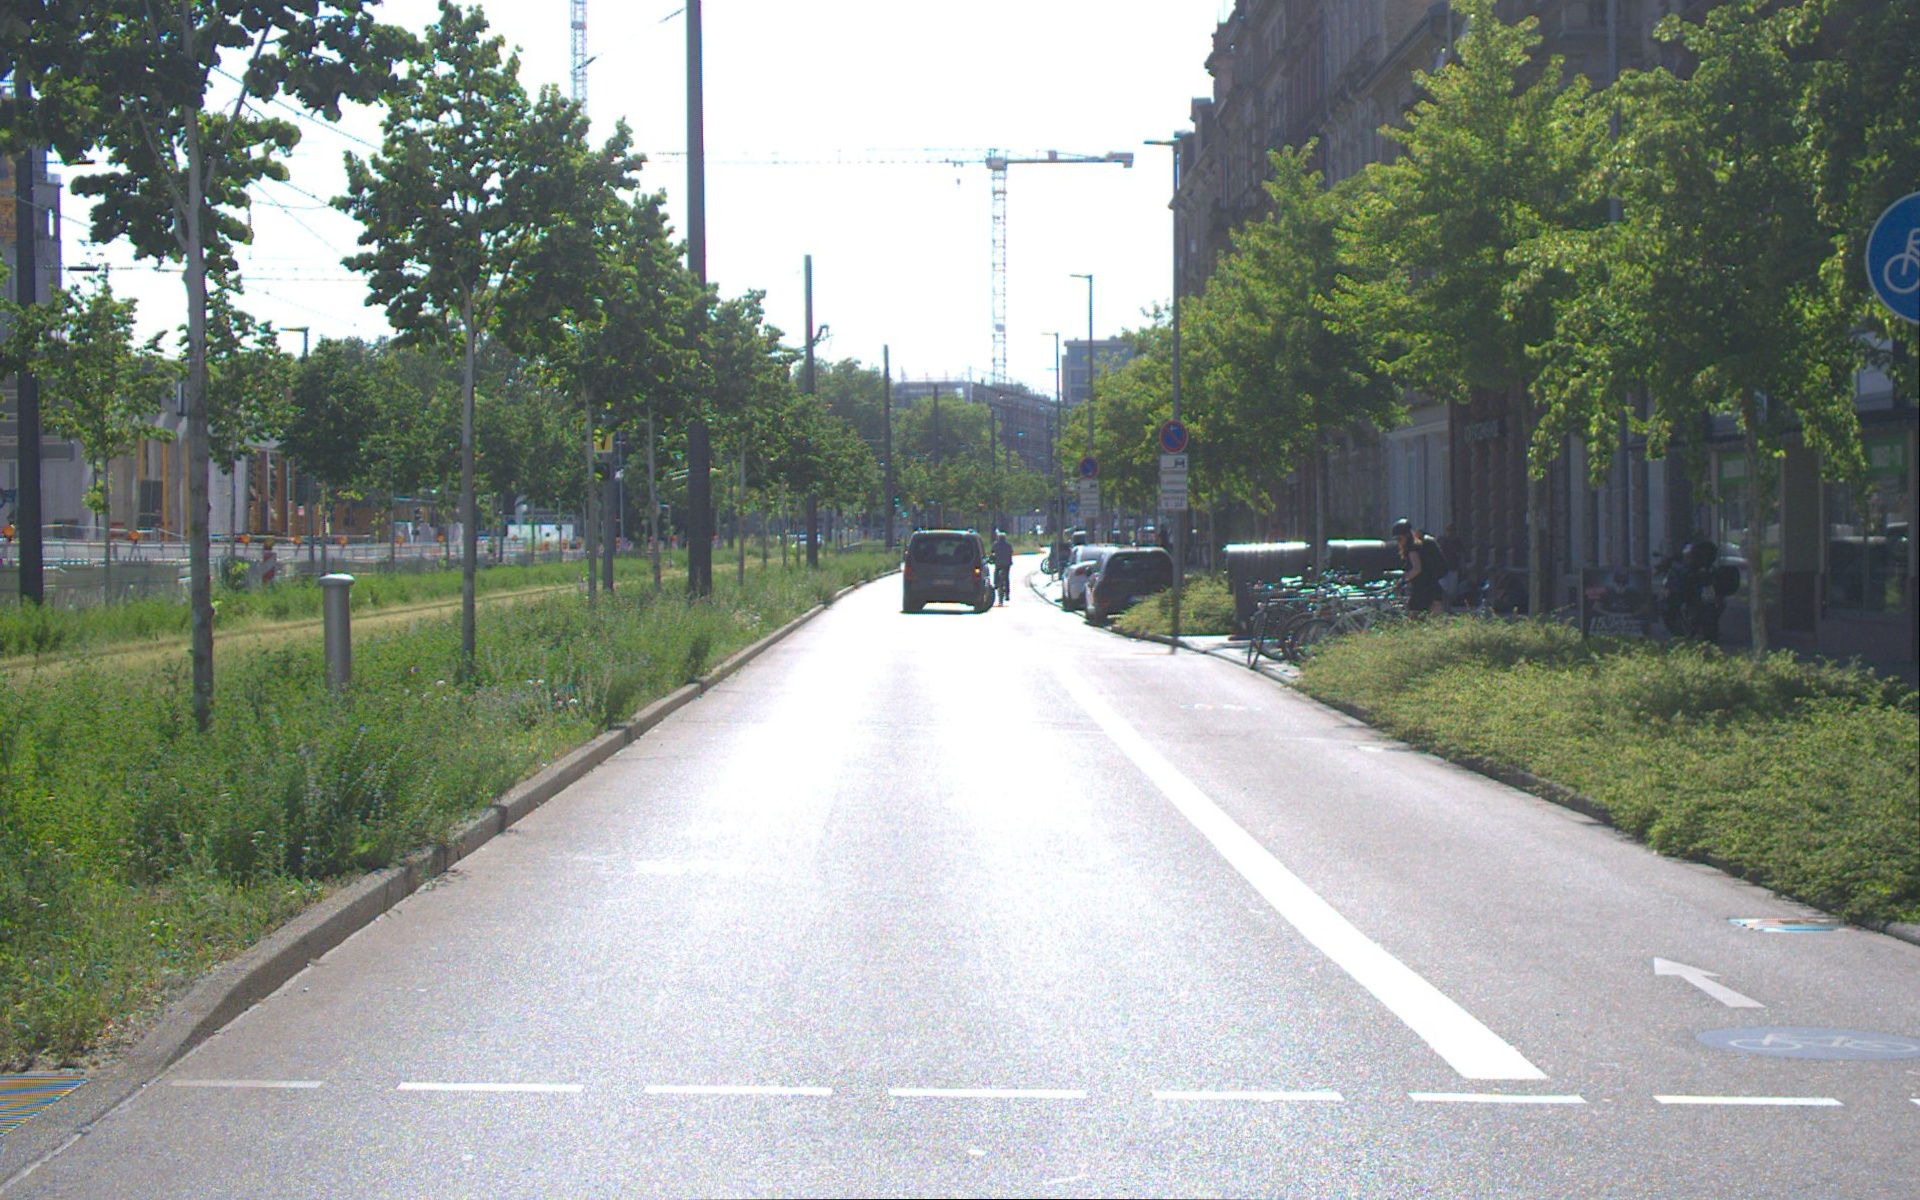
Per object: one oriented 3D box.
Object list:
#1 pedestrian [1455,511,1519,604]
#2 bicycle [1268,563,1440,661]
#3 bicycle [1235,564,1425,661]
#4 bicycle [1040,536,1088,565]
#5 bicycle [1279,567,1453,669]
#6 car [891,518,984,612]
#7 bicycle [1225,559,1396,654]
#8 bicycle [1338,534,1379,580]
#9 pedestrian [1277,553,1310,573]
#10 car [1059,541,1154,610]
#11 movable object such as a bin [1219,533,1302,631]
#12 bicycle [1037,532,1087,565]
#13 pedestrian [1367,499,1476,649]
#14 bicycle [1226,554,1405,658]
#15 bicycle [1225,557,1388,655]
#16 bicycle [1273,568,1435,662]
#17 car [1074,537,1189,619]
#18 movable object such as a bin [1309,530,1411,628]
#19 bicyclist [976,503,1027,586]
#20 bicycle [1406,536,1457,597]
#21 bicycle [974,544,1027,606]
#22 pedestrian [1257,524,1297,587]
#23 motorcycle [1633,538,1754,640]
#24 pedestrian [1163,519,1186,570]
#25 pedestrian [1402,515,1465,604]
[{"bbox_3d":[9.436,-0.767,61.587,0.971,1.633,0.992,-1,2,0],"label":"pedestrian"},{"bbox_3d":[4.746,0.140,41.437,1.977,1.104,0.435,-2,1,-3],"label":"bicycle"},{"bbox_3d":[4.588,0.154,42.603,2.284,1.098,0.486,-2,1,-14],"label":"bicycle"},{"bbox_3d":[4.209,-1.998,139.160,1.824,1.075,0.665,-3,1,-6],"label":"bicycle"},{"bbox_3d":[4.674,0.205,39.621,1.891,1.105,0.518,-2,1,-5],"label":"bicycle"},{"bbox_3d":[-0.487,-0.781,76.677,1.993,2.007,4.000,1,1,0],"label":"car"},{"bbox_3d":[4.486,0.076,44.030,2.043,1.103,0.611,-3,1,-6],"label":"bicycle"},{"bbox_3d":[9.734,-1.052,84.002,0.721,1.086,2.198,-1,1,0],"label":"bicycle"},{"bbox_3d":[9.779,-1.088,100.849,0.773,0.551,2.008,-1,2,0],"label":"pedestrian"},{"bbox_3d":[3.381,-0.602,80.268,1.951,1.490,5.105,-2,1,0],"label":"car"},{"bbox_3d":[4.774,-0.303,54.682,1.271,1.458,1.644,1,3,4],"label":"movable object such as a bin"},{"bbox_3d":[4.082,-2.047,137.625,1.878,1.229,0.500,-3,1,-5],"label":"bicycle"},{"bbox_3d":[5.564,-0.311,41.446,0.901,1.730,0.848,-3,1,37],"label":"pedestrian"},{"bbox_3d":[4.444,0.071,42.946,2.146,1.150,0.429,-4,1,-13],"label":"bicycle"},{"bbox_3d":[4.477,0.075,44.438,1.974,1.120,0.482,-4,2,-5],"label":"bicycle"},{"bbox_3d":[4.706,0.176,41.094,1.814,1.052,0.572,-2,1,-6],"label":"bicycle"},{"bbox_3d":[3.337,-0.438,67.561,1.765,1.472,4.449,-3,1,-3],"label":"car"},{"bbox_3d":[6.369,-0.338,54.854,1.373,1.490,1.749,-3,0,1],"label":"movable object such as a bin"},{"bbox_3d":[1.014,-1.371,84.660,1.210,2.008,1.642,1,0,-1],"label":"bicyclist"},{"bbox_3d":[9.577,-0.677,69.822,0.748,1.197,1.801,-1,1,0],"label":"bicycle"},{"bbox_3d":[0.983,-0.622,84.786,1.210,1.459,4.000,1,1,-1],"label":"bicycle"},{"bbox_3d":[8.734,-1.231,94.740,0.996,1.725,0.866,1,0,0],"label":"pedestrian"},{"bbox_3d":[9.440,-0.148,44.372,0.866,1.262,2.982,1,1,-1],"label":"motorcycle"},{"bbox_3d":[8.711,-2.236,139.535,0.817,2.007,1.046,1,-1,0],"label":"pedestrian"},{"bbox_3d":[8.472,-0.733,61.558,0.950,1.561,1.080,-1,2,-1],"label":"pedestrian"}]
